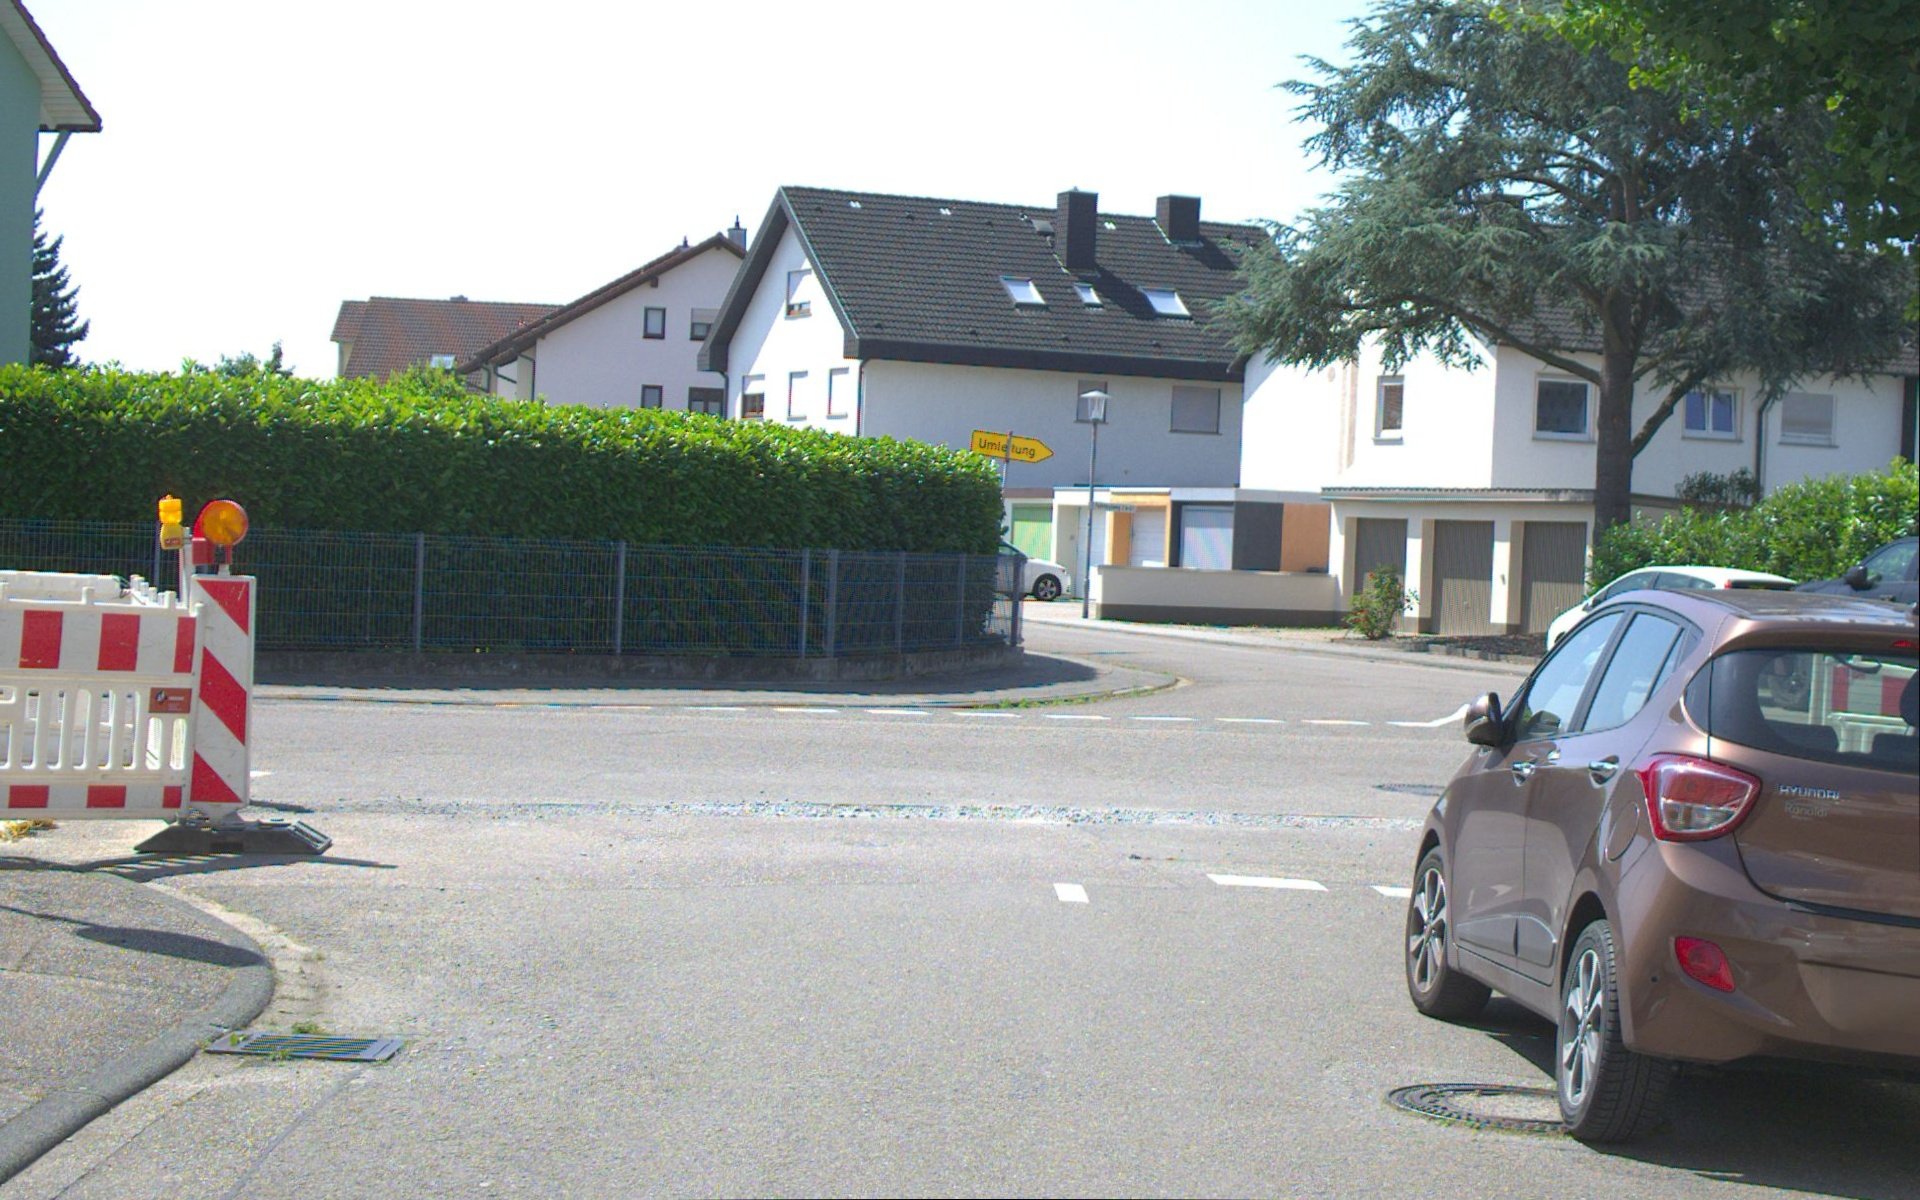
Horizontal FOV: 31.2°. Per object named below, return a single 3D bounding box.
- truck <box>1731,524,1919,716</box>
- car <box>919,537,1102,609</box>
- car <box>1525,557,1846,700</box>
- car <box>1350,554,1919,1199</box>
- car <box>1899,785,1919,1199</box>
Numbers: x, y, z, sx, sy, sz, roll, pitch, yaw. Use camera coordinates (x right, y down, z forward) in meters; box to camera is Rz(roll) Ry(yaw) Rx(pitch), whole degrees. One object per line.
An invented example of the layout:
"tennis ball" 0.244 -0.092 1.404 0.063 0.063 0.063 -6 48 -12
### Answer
"truck" 11.256 0.265 37.676 2.363 2.007 5.714 2 1 -26
"car" 1.118 -0.603 76.573 3.598 1.403 1.784 2 1 -22
"car" 9.153 0.332 43.702 1.797 1.557 4.144 2 1 -25
"car" 2.437 0.720 10.561 1.712 1.527 4.036 6 1 -3
"car" 2.724 0.896 3.783 1.895 1.424 4.738 3 1 -2
